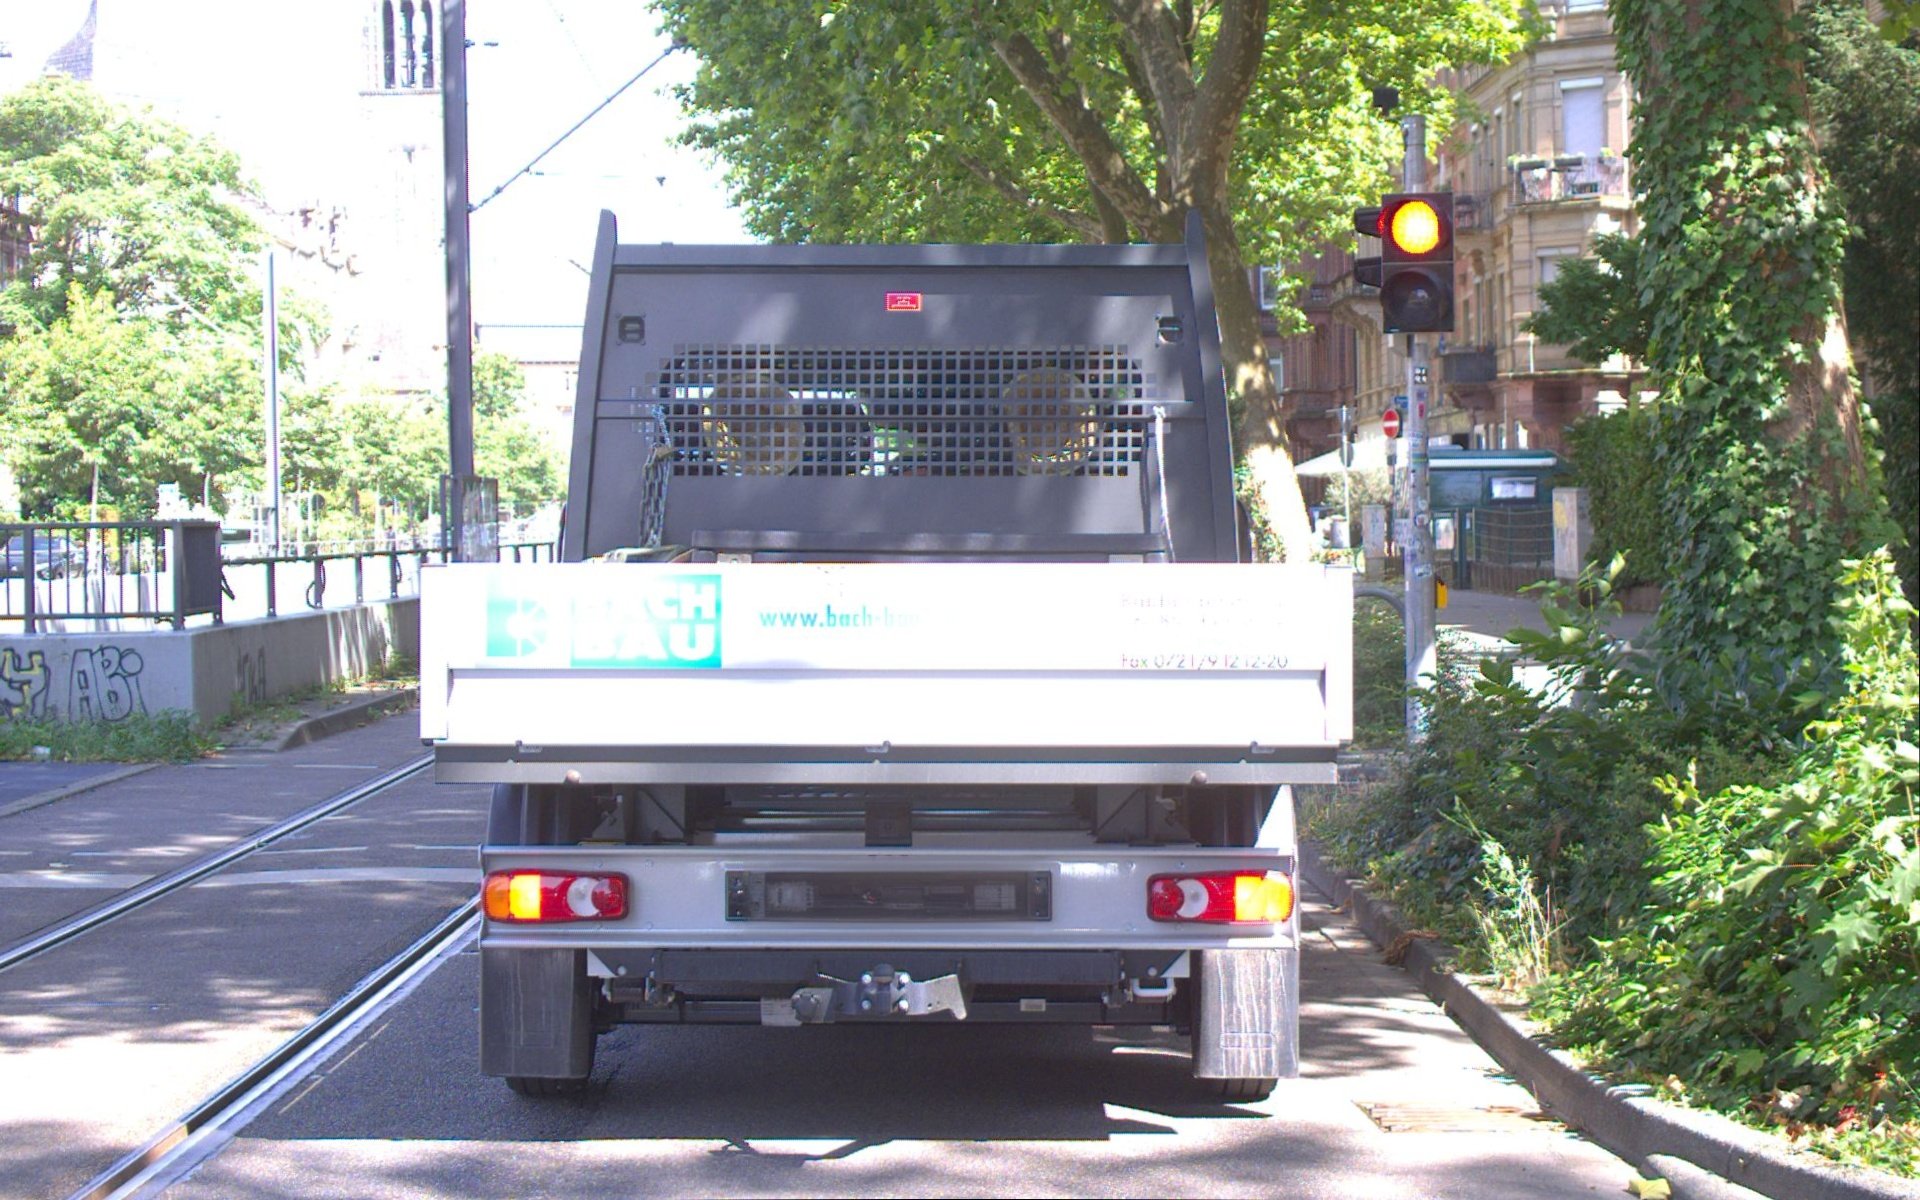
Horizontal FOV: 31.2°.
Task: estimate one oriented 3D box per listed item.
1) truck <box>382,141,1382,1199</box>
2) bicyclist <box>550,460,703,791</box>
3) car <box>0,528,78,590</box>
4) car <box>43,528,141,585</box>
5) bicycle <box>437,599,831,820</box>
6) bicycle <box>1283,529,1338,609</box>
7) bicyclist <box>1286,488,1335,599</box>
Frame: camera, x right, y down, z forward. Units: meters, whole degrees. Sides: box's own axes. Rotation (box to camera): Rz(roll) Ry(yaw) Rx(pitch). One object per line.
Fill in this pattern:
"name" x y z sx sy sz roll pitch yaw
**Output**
"truck" -0.165 0.121 9.691 2.138 2.311 4.402 1 1 0
"bicyclist" -1.663 0.120 17.222 0.692 1.617 0.625 -1 1 -1
"car" -23.530 -1.034 86.487 1.770 1.493 4.001 -1 1 -2
"car" -23.798 -1.219 94.323 1.770 1.493 4.001 -1 1 -2
"bicycle" -1.616 0.539 17.229 1.919 1.045 0.533 -1 1 -2
"bicycle" 5.031 -0.461 49.392 0.565 1.108 2.310 -1 1 1
"bicyclist" 5.037 -0.812 49.402 0.638 1.568 0.579 -1 1 1
